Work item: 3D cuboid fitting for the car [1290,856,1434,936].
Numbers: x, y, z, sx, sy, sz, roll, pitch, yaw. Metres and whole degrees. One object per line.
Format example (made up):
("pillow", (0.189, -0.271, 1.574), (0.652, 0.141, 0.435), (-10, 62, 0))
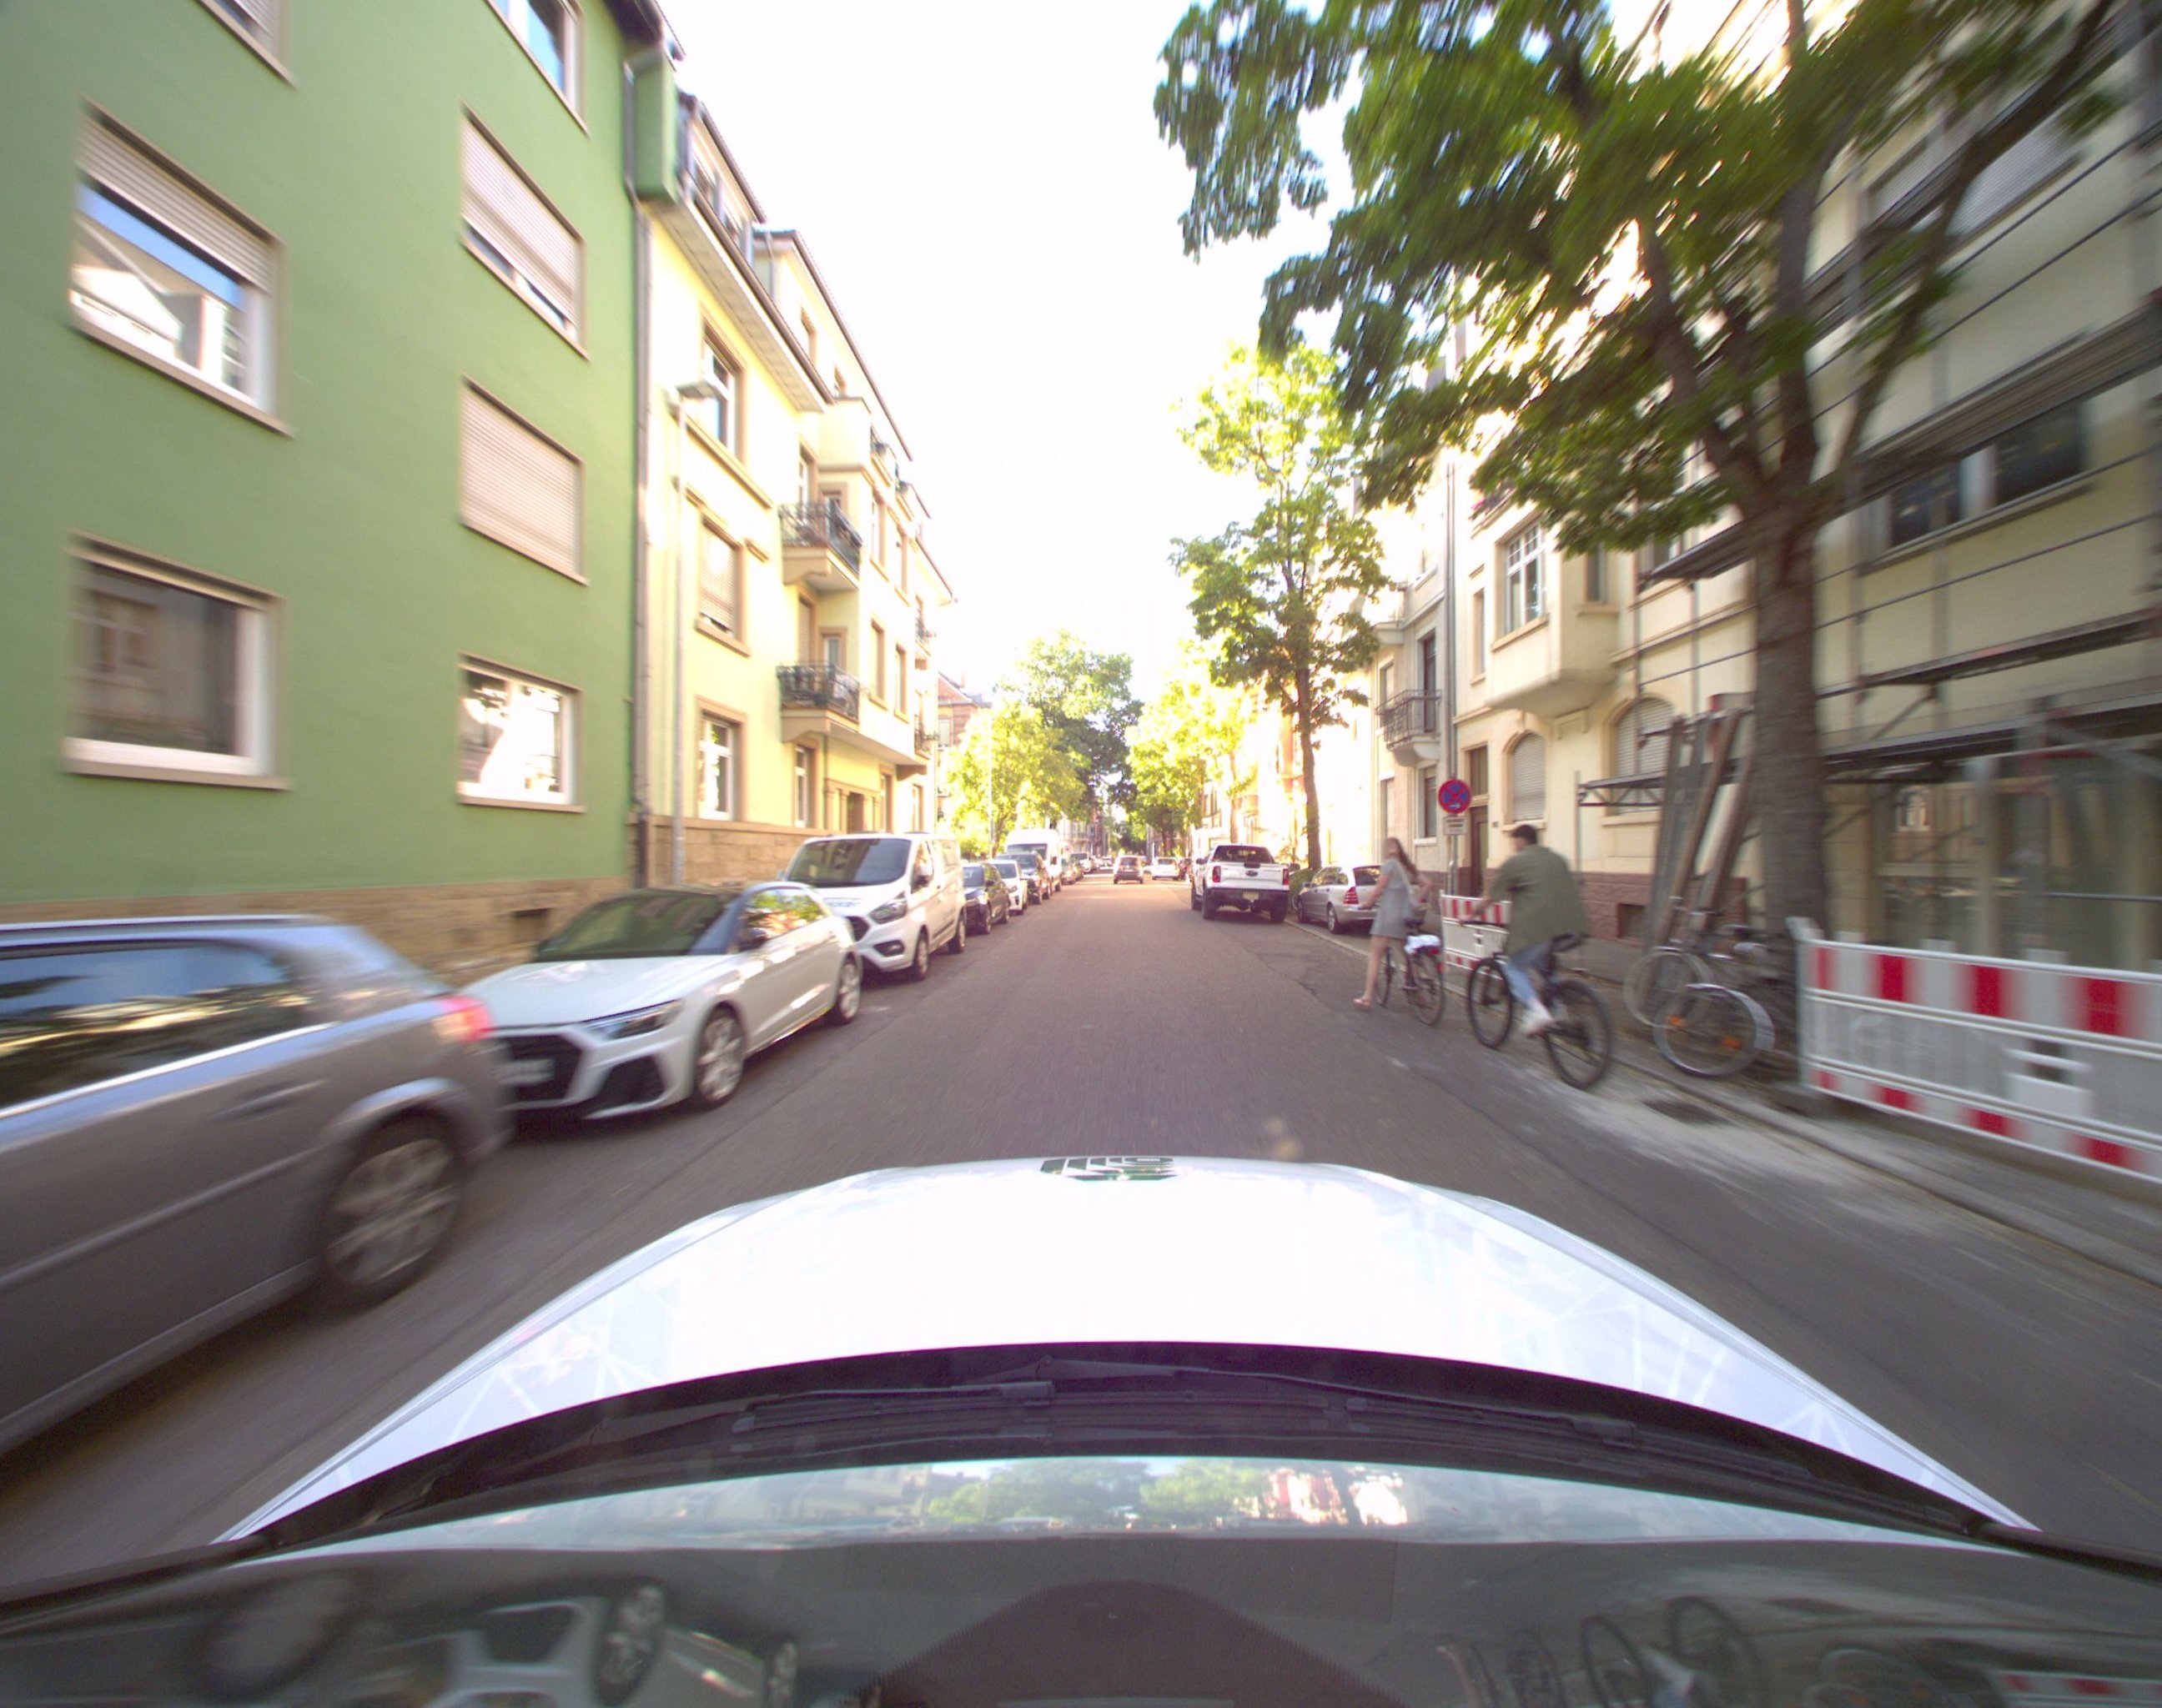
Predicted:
("car", (5.791, 0.791, 17.354), (1.673, 1.422, 4.433), (-2, 0, 3))

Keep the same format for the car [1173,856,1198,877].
("car", (7.963, 0.937, 62.204), (1.590, 1.488, 3.751), (-1, 0, 3))

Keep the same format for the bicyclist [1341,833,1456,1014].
("bicyclist", (3.179, 0.663, 8.238), (0.713, 1.689, 0.980), (2, 0, -2))

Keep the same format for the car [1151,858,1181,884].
("car", (5.463, 1.065, 52.746), (1.672, 1.544, 3.802), (1, 0, 2))

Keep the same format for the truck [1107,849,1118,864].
("truck", (6.853, 0.568, 176.627), (2.061, 2.926, 5.073), (-4, 0, 4))

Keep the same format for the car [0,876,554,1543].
("car", (-3.325, 0.862, 1.494), (1.714, 1.462, 4.506), (-3, 0, 0))

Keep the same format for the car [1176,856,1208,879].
("car", (7.598, 0.894, 55.988), (1.779, 1.514, 4.462), (0, 0, 2))

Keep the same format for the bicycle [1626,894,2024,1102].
("bicycle", (4.886, 0.882, 5.568), (1.904, 1.121, 0.752), (0, 0, 32))

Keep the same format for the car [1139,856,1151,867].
("car", (9.490, 1.128, 121.343), (1.655, 1.669, 3.761), (1, 0, 4))

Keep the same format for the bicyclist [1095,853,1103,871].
("bicyclist", (1.512, 0.703, 69.100), (0.649, 1.509, 0.625), (0, 0, 1))

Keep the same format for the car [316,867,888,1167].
("car", (-3.073, 0.902, 6.515), (1.826, 1.462, 4.365), (-3, 0, 2))

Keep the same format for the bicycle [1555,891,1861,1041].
("bicycle", (5.283, 0.907, 7.005), (1.963, 1.121, 0.750), (0, 0, 13))

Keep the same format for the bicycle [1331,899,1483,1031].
("bicycle", (3.183, 1.041, 8.166), (0.704, 1.045, 1.856), (3, -1, -2))

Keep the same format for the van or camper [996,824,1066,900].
("van or camper", (-1.956, 0.310, 33.802), (2.120, 2.769, 5.856), (-2, 0, 3))

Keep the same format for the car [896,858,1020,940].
("car", (-2.570, 0.883, 18.204), (1.759, 1.521, 4.829), (-1, 0, 3))

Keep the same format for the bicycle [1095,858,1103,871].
("bicycle", (1.510, 0.920, 68.996), (0.662, 1.077, 1.686), (0, 0, 1))

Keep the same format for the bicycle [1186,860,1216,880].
("bicycle", (7.573, 1.002, 51.439), (1.804, 1.167, 0.569), (-3, 0, 2))

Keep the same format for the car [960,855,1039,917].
("car", (-2.194, 0.835, 22.953), (1.629, 1.552, 4.091), (-1, -1, 2))

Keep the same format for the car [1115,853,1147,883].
("car", (2.678, 0.736, 44.321), (1.627, 1.550, 3.265), (0, 0, 1))

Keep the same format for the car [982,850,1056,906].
("car", (-2.029, 0.741, 28.026), (1.868, 1.685, 4.972), (-2, 0, 2))

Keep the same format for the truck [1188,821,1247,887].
("truck", (6.801, 0.010, 41.189), (2.065, 2.968, 6.112), (-3, 0, 2))

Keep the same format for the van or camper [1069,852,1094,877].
("van or camper", (0.068, 0.918, 71.657), (1.914, 1.980, 5.464), (-3, 0, 2))

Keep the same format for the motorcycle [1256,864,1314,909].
("motorcycle", (5.920, 0.911, 23.605), (1.773, 1.240, 0.695), (0, 0, -37))

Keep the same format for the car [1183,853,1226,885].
("car", (7.165, 0.838, 47.590), (1.878, 1.716, 4.946), (-1, 0, 2))

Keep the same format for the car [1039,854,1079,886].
("car", (-1.158, 0.841, 44.630), (1.773, 1.591, 4.472), (-3, 0, 2))

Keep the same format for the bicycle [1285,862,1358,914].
("bicycle", (6.266, 0.880, 21.271), (1.752, 1.305, 0.586), (0, 0, 1))

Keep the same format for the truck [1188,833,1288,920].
("truck", (3.901, 0.503, 21.105), (1.821, 1.949, 5.545), (0, 0, 3))

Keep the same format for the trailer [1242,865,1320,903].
("trailer", (6.108, 0.912, 24.946), (2.081, 1.112, 1.111), (0, 0, -11))

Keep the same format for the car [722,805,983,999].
("car", (-2.994, 0.578, 12.162), (2.244, 2.168, 5.244), (-3, 0, 1))

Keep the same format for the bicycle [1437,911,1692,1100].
("bicycle", (3.417, 1.005, 5.991), (0.737, 1.060, 1.856), (1, -1, -2))

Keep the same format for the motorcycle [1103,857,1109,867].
("motorcycle", (3.688, 1.148, 120.751), (0.696, 1.460, 1.747), (-1, 0, -6))

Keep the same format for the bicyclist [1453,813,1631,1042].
("bicyclist", (3.401, 0.508, 6.099), (0.753, 1.565, 0.980), (1, 0, -2))

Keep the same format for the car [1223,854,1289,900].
("car", (6.437, 0.795, 30.435), (1.743, 1.529, 4.786), (-1, 0, 4))

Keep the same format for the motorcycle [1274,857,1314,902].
("motorcycle", (6.993, 0.816, 26.860), (0.857, 1.416, 2.236), (0, 0, 4))

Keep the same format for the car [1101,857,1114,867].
("car", (4.004, 1.177, 124.040), (1.789, 1.432, 3.929), (-4, 0, 4))

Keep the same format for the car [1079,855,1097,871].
("car", (0.765, 0.973, 87.474), (1.819, 1.554, 4.133), (-4, 0, 1))

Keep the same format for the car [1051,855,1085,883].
("car", (-0.789, 0.889, 50.829), (1.669, 1.572, 4.156), (-3, 0, 4))

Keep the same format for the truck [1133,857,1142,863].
("truck", (12.753, 1.317, 184.707), (1.985, 1.456, 4.003), (0, 0, 3))
